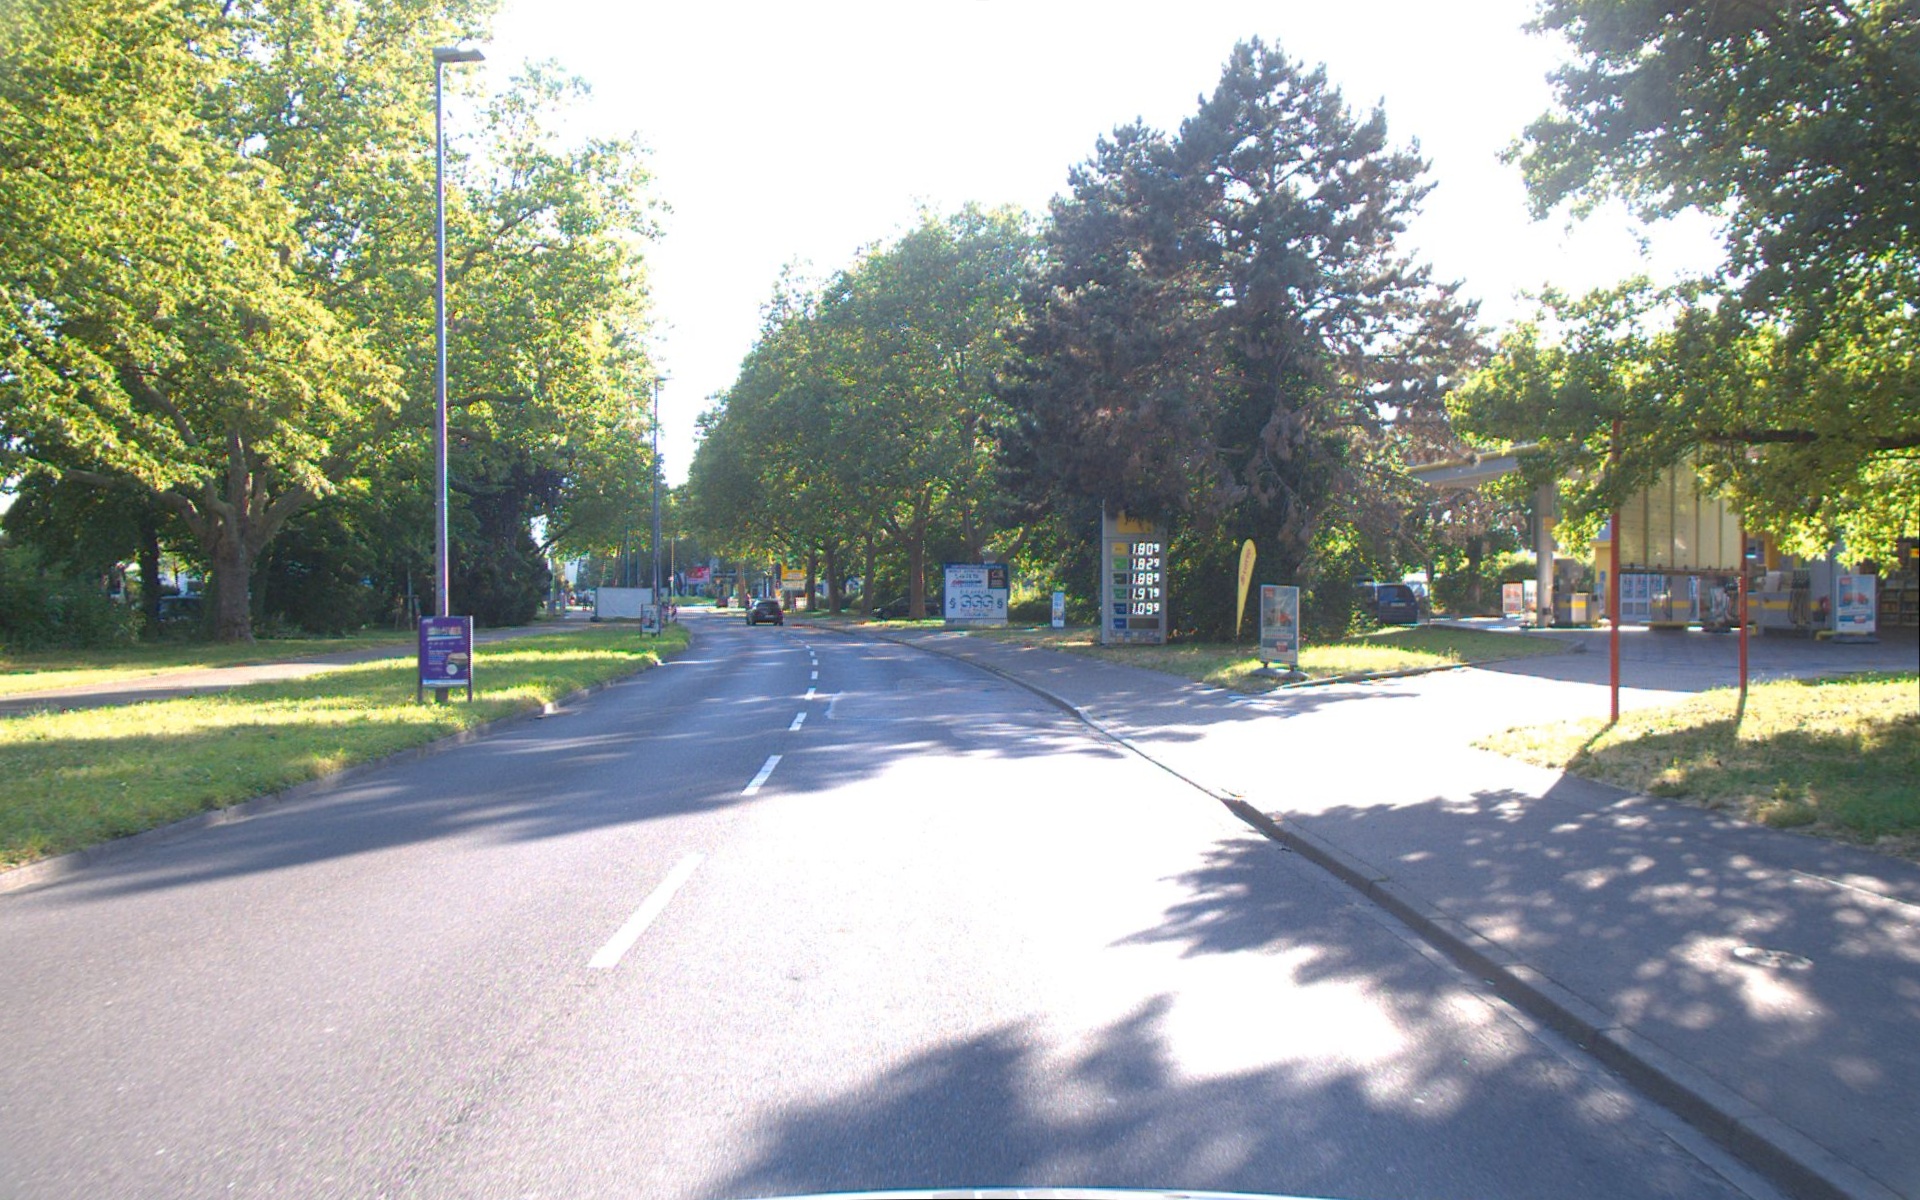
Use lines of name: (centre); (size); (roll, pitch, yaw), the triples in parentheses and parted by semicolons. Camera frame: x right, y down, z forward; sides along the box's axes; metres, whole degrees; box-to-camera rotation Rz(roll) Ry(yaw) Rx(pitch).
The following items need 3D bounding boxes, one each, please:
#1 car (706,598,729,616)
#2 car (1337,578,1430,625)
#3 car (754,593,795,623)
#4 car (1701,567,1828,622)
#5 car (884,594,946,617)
car: (-29.037, 0.848, 197.995); (1.952, 2.049, 4.002); (0, 0, 4)
car: (13.611, 0.036, 53.372); (1.805, 1.445, 3.997); (0, 0, -3)
car: (-10.463, 0.424, 93.405); (1.801, 1.633, 3.863); (0, 0, 1)
car: (26.730, -0.189, 55.102); (1.777, 1.758, 4.393); (-1, 0, -6)
car: (-2.996, 0.350, 109.777); (3.914, 1.468, 1.756); (-1, 0, -10)
